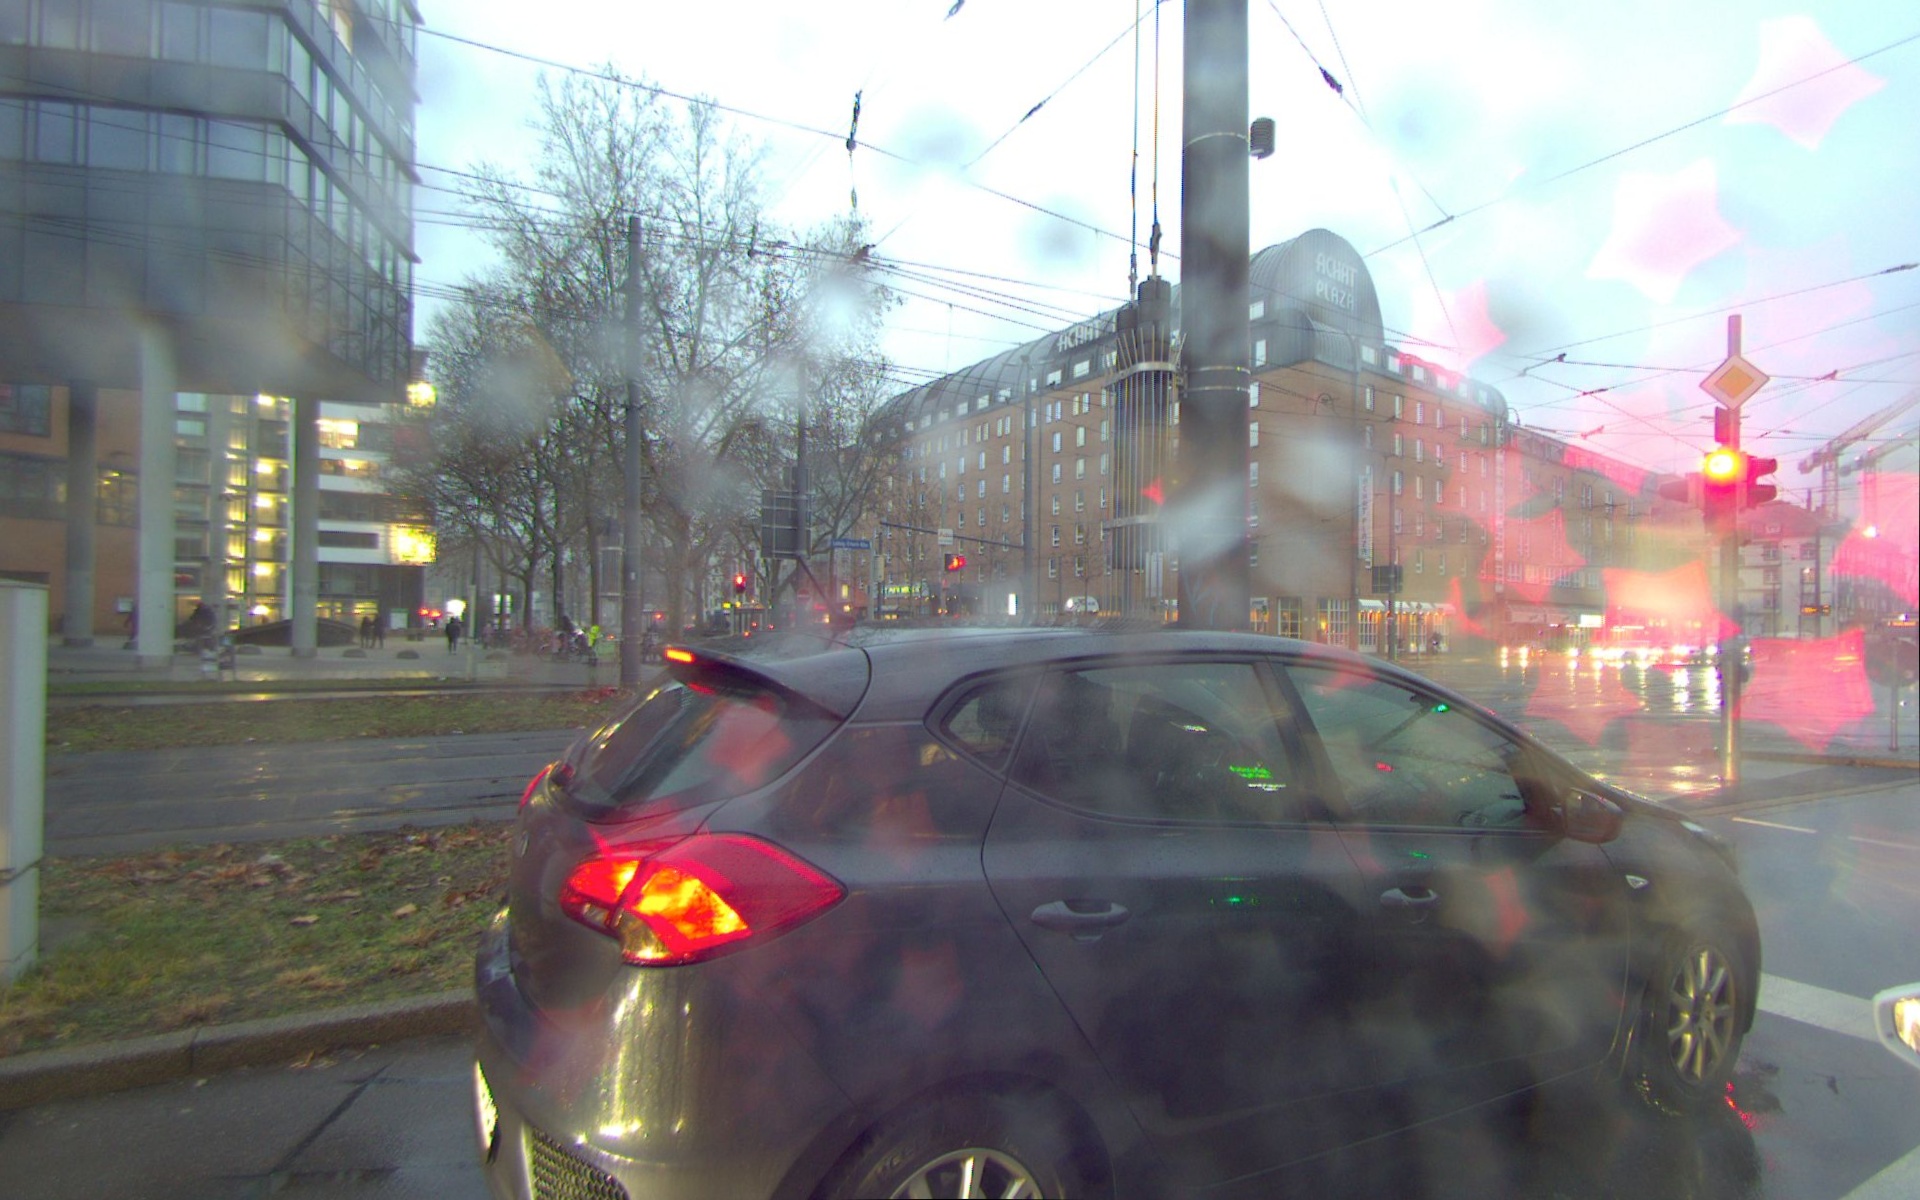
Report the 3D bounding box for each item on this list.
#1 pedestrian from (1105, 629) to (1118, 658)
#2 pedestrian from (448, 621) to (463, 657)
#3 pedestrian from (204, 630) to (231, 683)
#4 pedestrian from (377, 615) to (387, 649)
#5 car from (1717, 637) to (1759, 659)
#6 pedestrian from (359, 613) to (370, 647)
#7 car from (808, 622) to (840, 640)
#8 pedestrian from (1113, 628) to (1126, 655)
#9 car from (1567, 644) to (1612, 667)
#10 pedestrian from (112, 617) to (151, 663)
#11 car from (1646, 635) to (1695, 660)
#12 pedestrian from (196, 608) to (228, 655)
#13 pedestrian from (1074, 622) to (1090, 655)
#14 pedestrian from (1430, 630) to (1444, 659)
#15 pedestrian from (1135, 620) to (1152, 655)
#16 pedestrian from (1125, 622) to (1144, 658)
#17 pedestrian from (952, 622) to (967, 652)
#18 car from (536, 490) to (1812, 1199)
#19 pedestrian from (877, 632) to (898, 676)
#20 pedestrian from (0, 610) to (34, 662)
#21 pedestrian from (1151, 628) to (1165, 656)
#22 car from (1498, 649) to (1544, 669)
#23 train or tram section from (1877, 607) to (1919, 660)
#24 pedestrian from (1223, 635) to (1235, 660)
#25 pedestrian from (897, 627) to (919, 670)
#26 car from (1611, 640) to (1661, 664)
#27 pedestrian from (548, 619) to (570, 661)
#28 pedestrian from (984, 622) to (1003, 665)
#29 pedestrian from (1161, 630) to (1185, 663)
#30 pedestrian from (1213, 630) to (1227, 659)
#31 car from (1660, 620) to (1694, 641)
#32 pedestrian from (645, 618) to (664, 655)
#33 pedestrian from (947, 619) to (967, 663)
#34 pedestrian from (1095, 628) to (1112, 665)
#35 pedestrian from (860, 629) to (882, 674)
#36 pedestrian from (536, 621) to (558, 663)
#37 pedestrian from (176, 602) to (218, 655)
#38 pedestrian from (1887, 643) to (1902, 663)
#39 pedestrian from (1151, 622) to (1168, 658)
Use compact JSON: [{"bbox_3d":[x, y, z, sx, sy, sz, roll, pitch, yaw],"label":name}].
[{"bbox_3d":[8.397,2.399,55.645,0.566,1.558,0.517,1,-1,-21],"label":"pedestrian"},{"bbox_3d":[-24.211,1.871,48.201,0.556,1.706,0.592,1,-1,-34],"label":"pedestrian"},{"bbox_3d":[-18.462,1.398,24.983,0.491,1.281,0.442,2,0,-34],"label":"pedestrian"},{"bbox_3d":[-30.416,1.680,52.834,0.441,1.774,0.649,1,-1,-30],"label":"pedestrian"},{"bbox_3d":[53.792,3.316,69.447,3.519,1.372,1.667,2,-1,-41],"label":"car"},{"bbox_3d":[-31.045,1.547,52.379,0.441,1.774,0.649,1,-1,-30],"label":"pedestrian"},{"bbox_3d":[-14.707,3.347,108.732,2.085,1.806,3.673,2,-2,-32],"label":"car"},{"bbox_3d":[9.405,2.451,59.273,0.566,1.558,0.517,1,-1,-21],"label":"pedestrian"},{"bbox_3d":[43.021,3.768,68.650,3.566,1.515,1.569,2,-2,-40],"label":"car"},{"bbox_3d":[-31.522,1.518,38.210,0.680,1.731,0.926,0,-1,-1],"label":"pedestrian"},{"bbox_3d":[50.323,3.337,71.105,4.669,1.732,1.813,2,-2,-41],"label":"car"},{"bbox_3d":[-27.357,1.151,36.761,0.682,1.731,0.726,1,-1,-14],"label":"pedestrian"},{"bbox_3d":[7.801,2.461,64.286,0.712,2.040,0.740,2,-2,-33],"label":"pedestrian"},{"bbox_3d":[33.846,3.122,71.286,0.919,2.040,0.758,0,-2,27],"label":"pedestrian"},{"bbox_3d":[10.944,2.226,60.028,0.746,2.040,0.705,1,-1,-14],"label":"pedestrian"},{"bbox_3d":[9.956,2.269,57.319,0.701,2.040,0.751,2,-2,-36],"label":"pedestrian"},{"bbox_3d":[-0.064,2.494,67.880,0.712,2.040,0.740,2,-2,-33],"label":"pedestrian"},{"bbox_3d":[0.782,0.688,3.126,3.715,1.593,1.673,1,-2,-29],"label":"car"},{"bbox_3d":[-3.376,2.490,46.553,0.750,2.040,0.702,1,-2,-28],"label":"pedestrian"},{"bbox_3d":[-27.848,1.054,29.527,0.683,1.523,0.650,1,-1,-21],"label":"pedestrian"},{"bbox_3d":[11.128,2.372,56.405,0.566,1.558,0.517,1,-1,-21],"label":"pedestrian"},{"bbox_3d":[40.768,4.289,72.987,4.194,1.339,1.598,2,-2,-40],"label":"car"},{"bbox_3d":[70.513,2.460,73.913,12.156,3.637,2.925,2,0,-40],"label":"train or tram section"},{"bbox_3d":[17.370,3.070,64.850,0.566,1.558,0.517,1,-1,-21],"label":"pedestrian"},{"bbox_3d":[-2.495,2.345,48.408,0.696,2.040,0.757,0,-2,36],"label":"pedestrian"},{"bbox_3d":[44.592,3.381,66.204,4.166,1.515,1.654,2,-2,-40],"label":"car"},{"bbox_3d":[-16.304,1.629,40.818,0.551,1.706,0.597,0,-1,27],"label":"pedestrian"},{"bbox_3d":[1.630,2.118,49.068,0.746,2.040,0.798,1,-1,-14],"label":"pedestrian"},{"bbox_3d":[12.829,2.787,60.484,1.144,1.924,0.856,1,-1,-21],"label":"pedestrian"},{"bbox_3d":[14.405,2.468,55.727,0.566,1.558,0.517,1,-1,-21],"label":"pedestrian"},{"bbox_3d":[73.294,3.162,102.686,3.968,2.040,1.976,2,0,-41],"label":"car"},{"bbox_3d":[-17.084,2.016,56.166,0.696,2.040,0.757,0,-2,36],"label":"pedestrian"},{"bbox_3d":[-0.137,1.901,46.625,0.746,2.040,0.705,1,-1,-14],"label":"pedestrian"},{"bbox_3d":[8.035,2.612,56.212,0.746,2.040,0.705,1,-1,-14],"label":"pedestrian"},{"bbox_3d":[-4.082,2.374,46.175,0.750,2.040,0.702,1,-2,-28],"label":"pedestrian"},{"bbox_3d":[-16.861,1.723,41.020,0.551,1.706,0.597,0,-1,27],"label":"pedestrian"},{"bbox_3d":[-27.201,1.023,35.830,0.906,1.870,0.774,1,-1,-10],"label":"pedestrian"},{"bbox_3d":[55.988,3.168,60.204,0.486,1.168,0.575,2,0,-39],"label":"pedestrian"},{"bbox_3d":[11.455,2.287,57.649,0.746,2.040,0.705,1,-1,-14],"label":"pedestrian"}]
